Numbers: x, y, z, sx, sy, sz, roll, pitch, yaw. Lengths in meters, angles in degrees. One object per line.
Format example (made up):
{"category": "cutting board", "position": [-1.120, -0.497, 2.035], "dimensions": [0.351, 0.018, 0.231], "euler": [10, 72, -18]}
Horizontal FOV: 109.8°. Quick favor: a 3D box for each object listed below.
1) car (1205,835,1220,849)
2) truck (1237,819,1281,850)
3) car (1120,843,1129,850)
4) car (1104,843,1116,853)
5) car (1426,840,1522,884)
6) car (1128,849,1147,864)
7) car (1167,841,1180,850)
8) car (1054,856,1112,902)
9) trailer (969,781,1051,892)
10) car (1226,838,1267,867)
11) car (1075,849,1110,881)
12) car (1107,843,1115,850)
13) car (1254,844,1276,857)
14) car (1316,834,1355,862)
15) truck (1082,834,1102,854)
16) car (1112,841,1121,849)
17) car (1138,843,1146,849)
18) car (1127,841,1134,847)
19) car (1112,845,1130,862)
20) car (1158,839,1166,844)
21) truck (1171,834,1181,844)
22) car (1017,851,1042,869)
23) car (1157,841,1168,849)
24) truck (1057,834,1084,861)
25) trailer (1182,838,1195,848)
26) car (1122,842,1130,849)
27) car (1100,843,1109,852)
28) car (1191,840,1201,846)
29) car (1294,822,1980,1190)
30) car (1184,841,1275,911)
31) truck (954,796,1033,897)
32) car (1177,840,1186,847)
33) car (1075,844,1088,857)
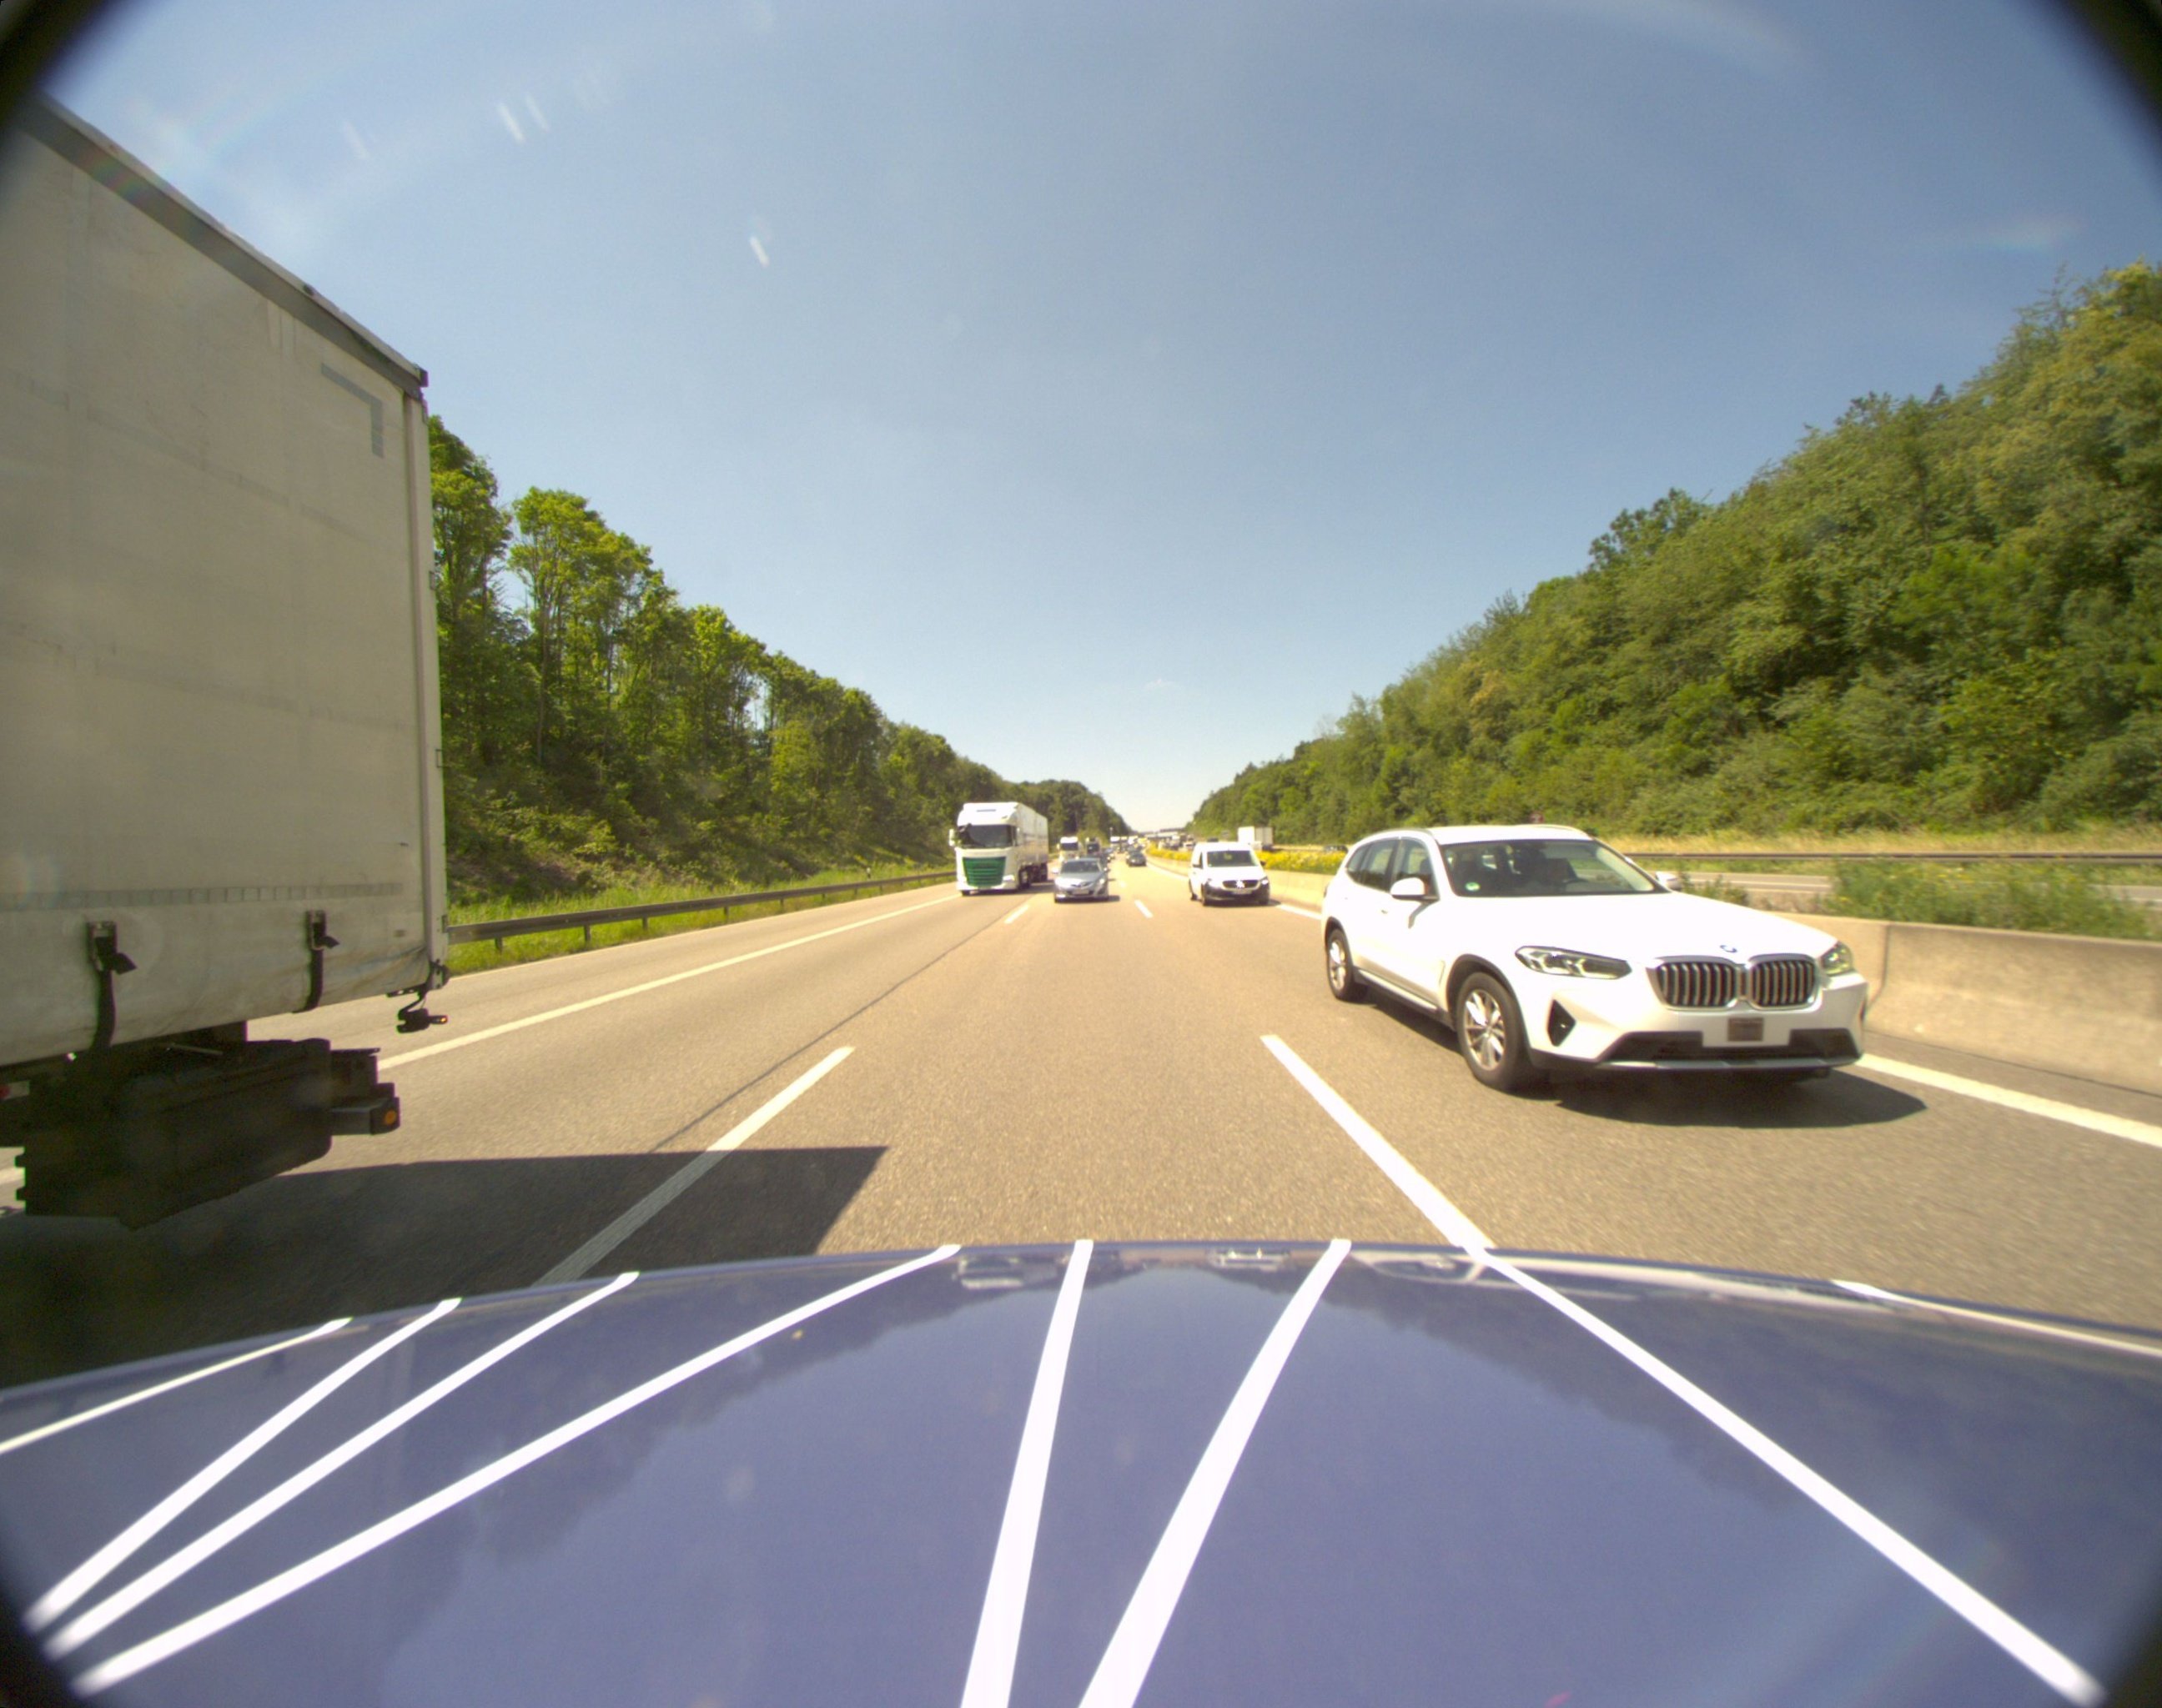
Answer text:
{"category": "car", "position": [24.041, -2.205, 139.026], "dimensions": [1.998, 2.416, 3.999], "euler": [-2, 1, 1]}
{"category": "truck", "position": [26.158, -2.880, 112.315], "dimensions": [3.718, 4.171, 13.793], "euler": [-2, 1, 2]}
{"category": "car", "position": [10.476, -1.877, 184.264], "dimensions": [1.998, 1.728, 4.000], "euler": [-2, 1, 1]}
{"category": "car", "position": [4.966, -1.055, 131.073], "dimensions": [1.998, 1.728, 4.000], "euler": [-2, 1, 1]}
{"category": "car", "position": [14.823, 0.288, 28.888], "dimensions": [1.675, 1.499, 3.828], "euler": [-2, 0, 0]}
{"category": "car", "position": [5.819, 0.215, 78.972], "dimensions": [1.720, 1.470, 4.000], "euler": [-2, 0, 1]}
{"category": "car", "position": [16.915, -1.528, 138.590], "dimensions": [1.922, 1.658, 3.999], "euler": [-2, 1, 1]}
{"category": "car", "position": [0.103, 0.852, 27.619], "dimensions": [1.887, 1.458, 4.248], "euler": [-2, 0, 1]}
{"category": "trailer", "position": [-3.578, -0.928, 42.548], "dimensions": [2.574, 5.011, 15.270], "euler": [-2, 1, 1]}
{"category": "car", "position": [12.274, -0.166, 56.582], "dimensions": [1.998, 2.002, 4.899], "euler": [-2, 1, 1]}
{"category": "car", "position": [0.727, 0.625, 44.941], "dimensions": [1.887, 1.695, 4.085], "euler": [-2, 0, 2]}
{"category": "car", "position": [8.117, -2.080, 202.893], "dimensions": [1.998, 1.728, 4.000], "euler": [-2, 1, 3]}
{"category": "car", "position": [20.904, -0.392, 86.627], "dimensions": [1.618, 1.381, 3.508], "euler": [-2, 0, 0]}
{"category": "car", "position": [19.438, -0.467, 58.151], "dimensions": [1.637, 2.002, 3.999], "euler": [-2, 1, 0]}
{"category": "truck", "position": [2.154, -1.963, 145.958], "dimensions": [3.558, 3.694, 7.550], "euler": [-2, 1, 1]}
{"category": "car", "position": [10.984, -2.861, 235.458], "dimensions": [2.697, 2.467, 6.584], "euler": [-2, 1, 3]}
{"category": "car", "position": [15.560, -2.086, 194.549], "dimensions": [1.998, 1.426, 4.000], "euler": [-2, 0, 3]}
{"category": "car", "position": [15.169, -3.158, 233.530], "dimensions": [1.998, 1.728, 4.000], "euler": [-2, 1, 3]}
{"category": "car", "position": [4.881, -0.112, 93.139], "dimensions": [1.998, 2.002, 4.000], "euler": [-2, 1, 2]}
{"category": "car", "position": [27.175, -4.256, 254.272], "dimensions": [2.158, 1.676, 4.147], "euler": [-2, 1, 1]}
{"category": "truck", "position": [33.079, -5.198, 264.558], "dimensions": [2.544, 3.102, 7.784], "euler": [-2, 1, 1]}
{"category": "car", "position": [-4.793, 0.542, 70.924], "dimensions": [1.934, 1.534, 3.756], "euler": [-2, 0, 1]}
{"category": "car", "position": [18.382, -2.064, 171.420], "dimensions": [1.998, 1.676, 4.000], "euler": [-2, 1, 1]}
{"category": "truck", "position": [-1.346, -0.831, 99.218], "dimensions": [3.263, 3.337, 6.862], "euler": [-2, 1, 0]}
{"category": "trailer", "position": [21.331, -2.199, 151.327], "dimensions": [1.998, 2.002, 4.000], "euler": [-2, 1, 2]}
{"category": "car", "position": [12.461, -2.333, 209.814], "dimensions": [1.998, 1.728, 4.000], "euler": [-2, 1, 3]}
{"category": "car", "position": [5.683, -1.636, 182.364], "dimensions": [1.964, 2.002, 4.000], "euler": [-2, 0, 0]}
{"category": "car", "position": [31.433, -3.047, 207.695], "dimensions": [1.998, 1.676, 4.000], "euler": [-2, 1, 1]}
{"category": "car", "position": [3.326, 0.728, 6.077], "dimensions": [1.869, 1.684, 4.956], "euler": [-2, 0, 1]}
{"category": "car", "position": [4.278, 0.584, 22.577], "dimensions": [1.769, 1.802, 4.674], "euler": [-2, 0, 1]}
{"category": "truck", "position": [-3.762, -0.340, 34.198], "dimensions": [2.542, 4.006, 6.624], "euler": [-2, 1, 1]}
{"category": "car", "position": [27.877, -2.955, 210.248], "dimensions": [1.998, 1.676, 4.000], "euler": [-2, 1, 1]}
{"category": "car", "position": [0.088, -0.515, 110.068], "dimensions": [1.924, 1.652, 3.826], "euler": [-2, 1, 1]}
